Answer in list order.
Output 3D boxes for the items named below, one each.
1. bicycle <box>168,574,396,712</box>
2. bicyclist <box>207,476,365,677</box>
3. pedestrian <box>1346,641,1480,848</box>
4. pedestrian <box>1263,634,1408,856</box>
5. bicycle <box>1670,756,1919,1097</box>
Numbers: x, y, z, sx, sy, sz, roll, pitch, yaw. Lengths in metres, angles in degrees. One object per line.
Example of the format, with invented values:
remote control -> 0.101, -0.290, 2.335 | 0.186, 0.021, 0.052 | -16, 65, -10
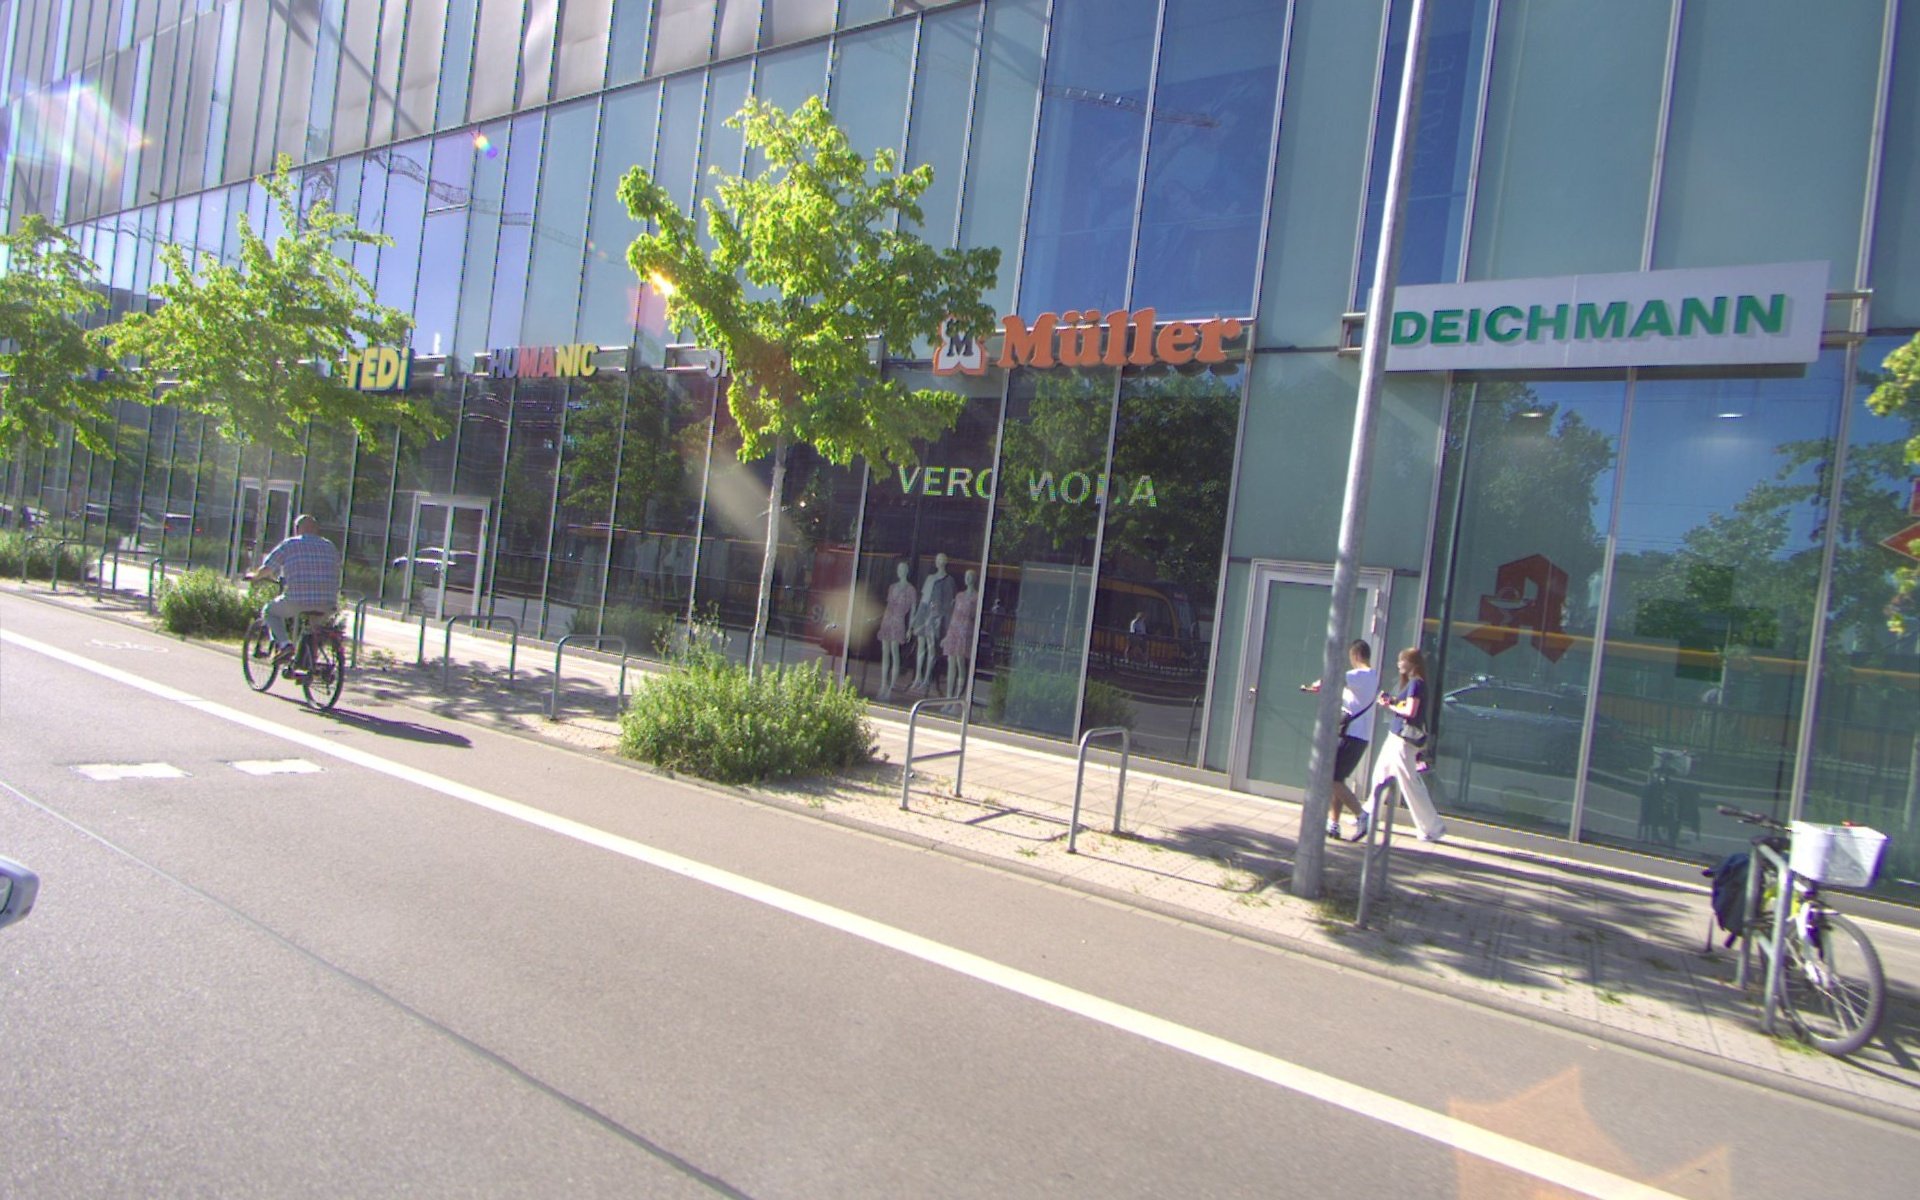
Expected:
bicycle -> -6.480, 0.397, 9.575 | 2.293, 0.995, 0.730 | 7, -1, 28
bicyclist -> -6.390, -0.213, 9.548 | 0.980, 1.758, 0.726 | 7, 1, 28
pedestrian -> 4.104, 1.259, 9.103 | 0.884, 1.680, 0.707 | 7, 2, 28
pedestrian -> 3.200, 1.177, 8.554 | 0.884, 1.680, 0.822 | 7, 2, 28
bicycle -> 4.557, 1.597, 5.469 | 0.936, 1.221, 2.084 | 7, 1, 38
